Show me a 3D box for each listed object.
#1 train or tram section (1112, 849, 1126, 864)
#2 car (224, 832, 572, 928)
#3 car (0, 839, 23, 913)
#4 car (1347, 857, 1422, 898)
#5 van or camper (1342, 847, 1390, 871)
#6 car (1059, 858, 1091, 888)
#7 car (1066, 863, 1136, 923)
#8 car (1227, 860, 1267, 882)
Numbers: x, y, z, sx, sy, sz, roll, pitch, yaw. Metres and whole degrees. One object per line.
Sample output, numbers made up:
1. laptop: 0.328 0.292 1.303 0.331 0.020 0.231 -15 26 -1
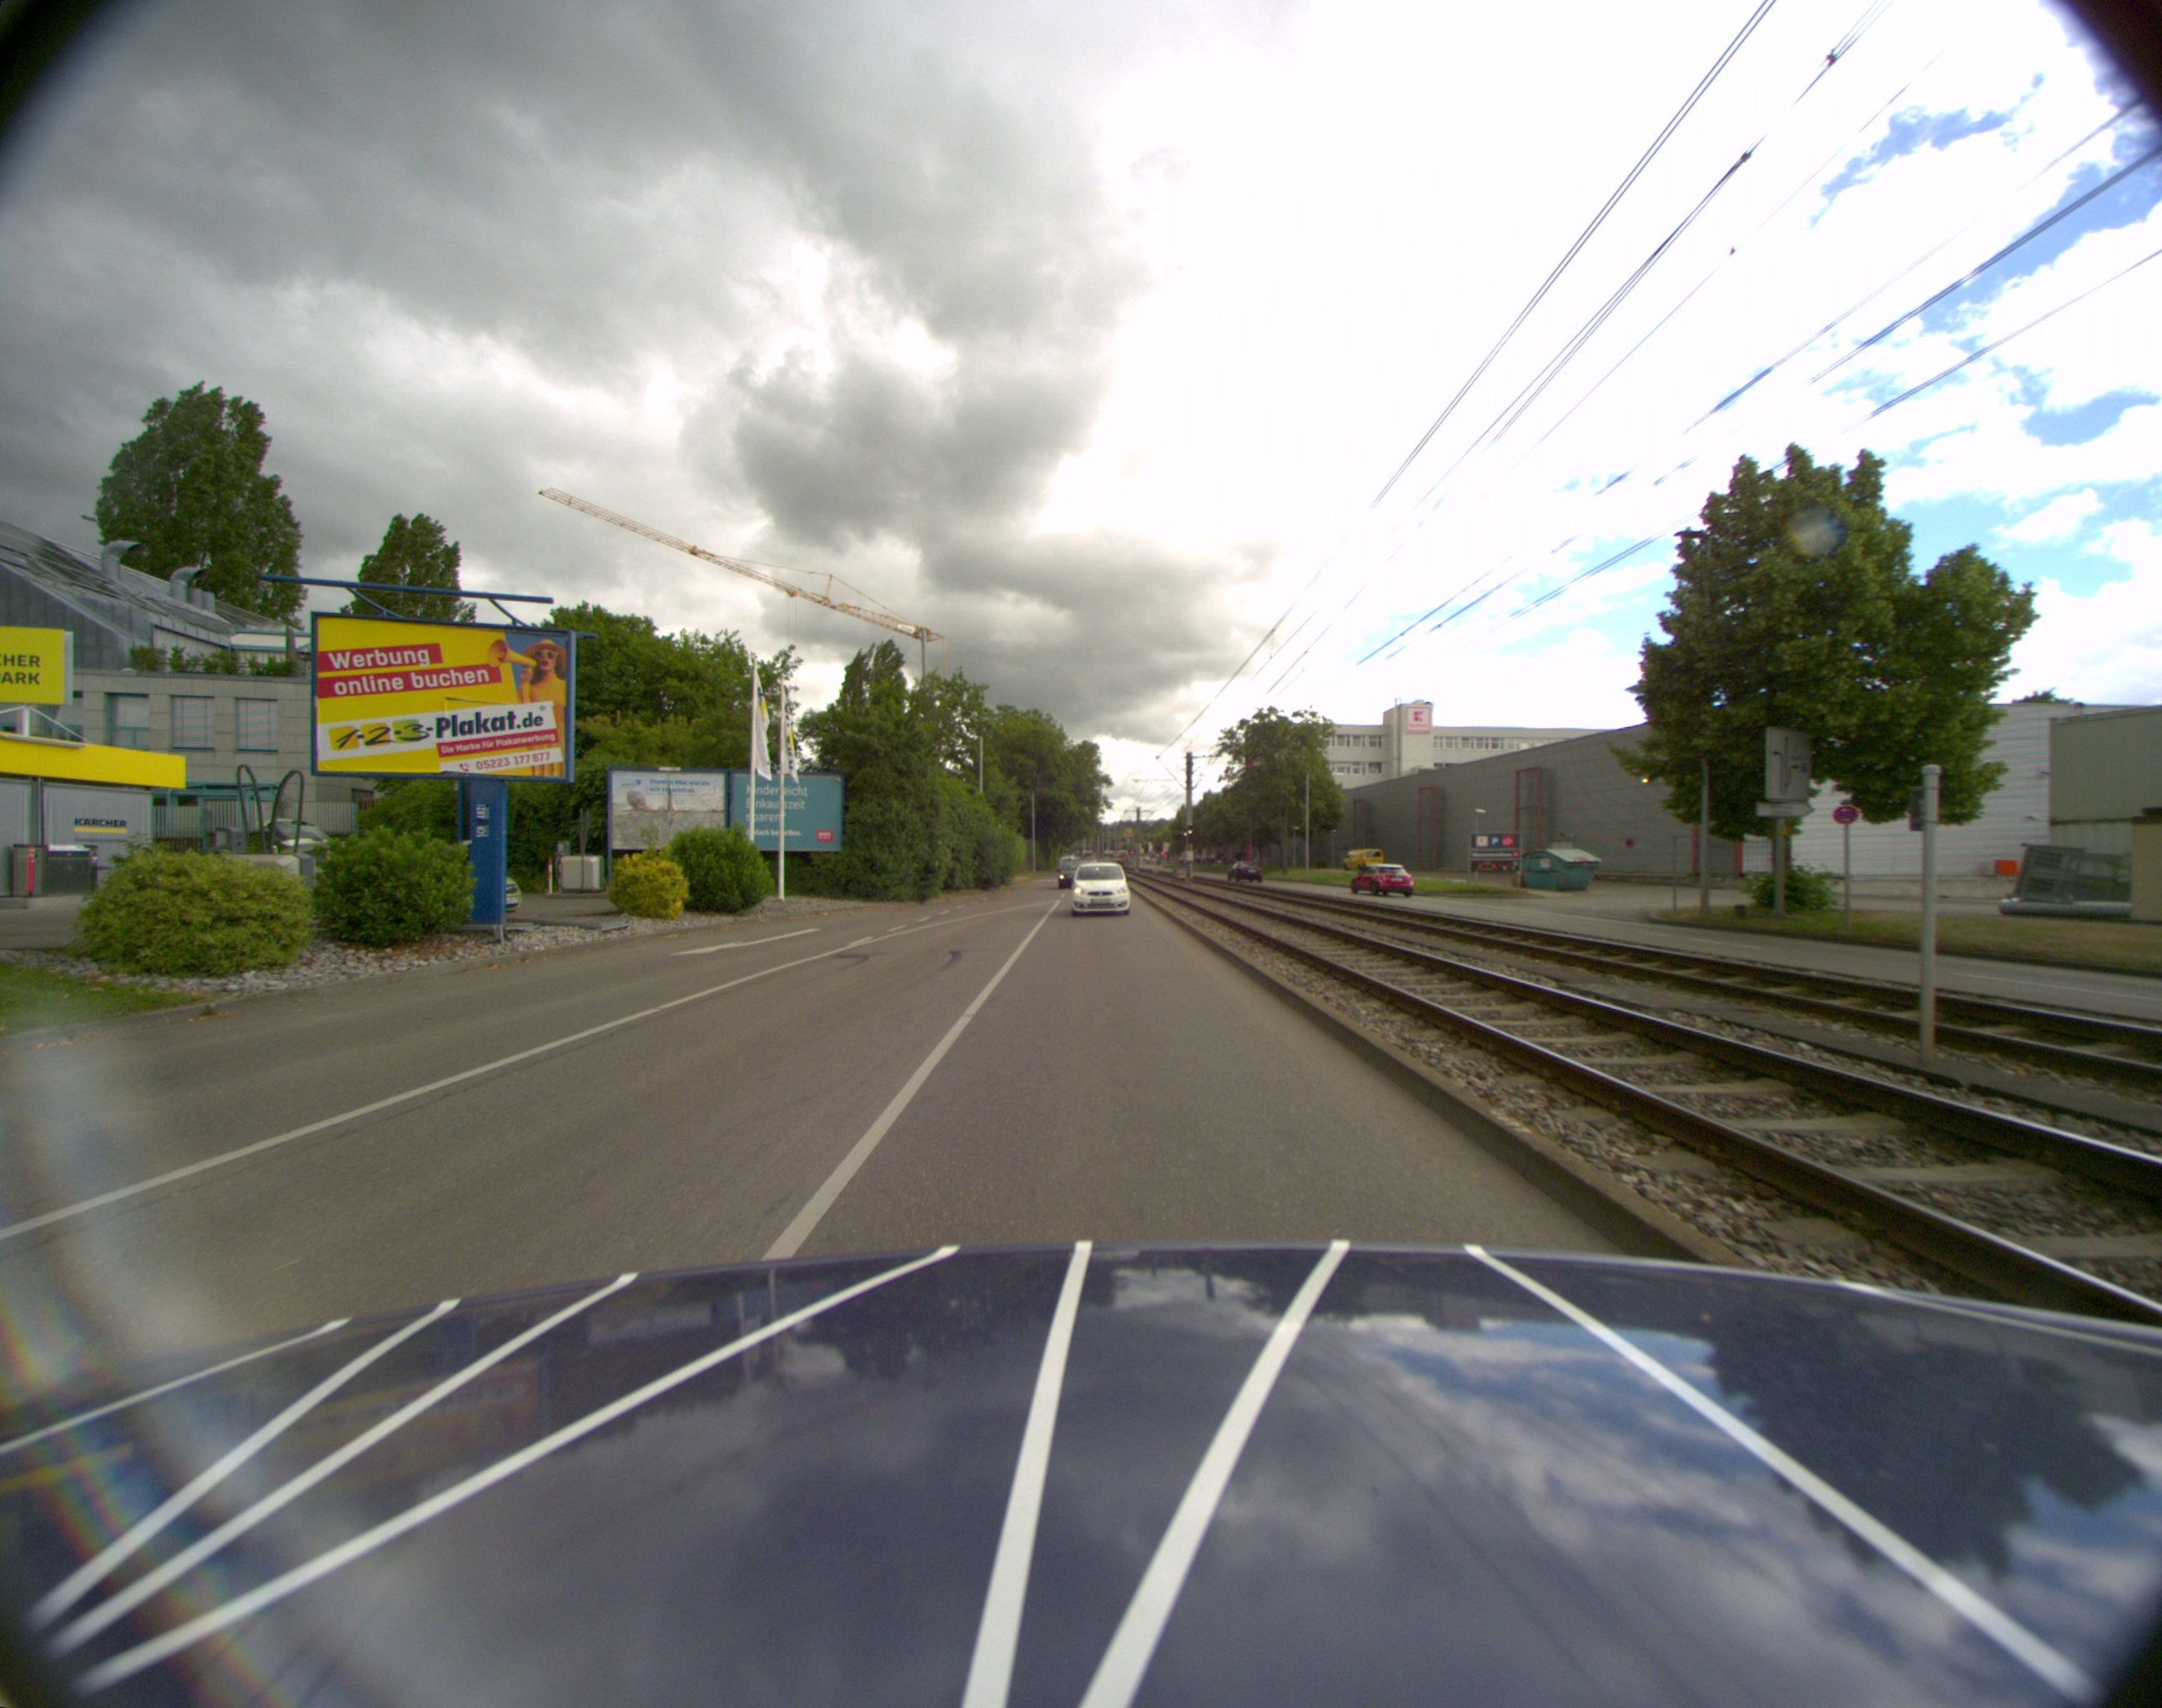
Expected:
1. train or tram section: 10.235 0.671 206.600 2.778 3.753 13.786 -1 0 -1
2. car: -12.823 0.466 14.694 4.029 1.646 2.944 0 0 -6
3. car: -24.042 0.472 15.121 1.633 1.630 3.525 0 0 -16
4. car: 14.002 1.047 35.294 1.797 1.761 4.000 0 0 -1
5. van or camper: 25.217 0.465 67.380 2.109 2.002 5.241 0 0 -2
6. car: -0.274 1.048 43.247 1.714 1.586 4.000 -1 0 1
7. car: 0.533 1.026 21.700 1.764 1.469 4.031 -2 0 0
8. car: 11.472 1.155 52.845 1.763 1.393 4.443 2 0 0
